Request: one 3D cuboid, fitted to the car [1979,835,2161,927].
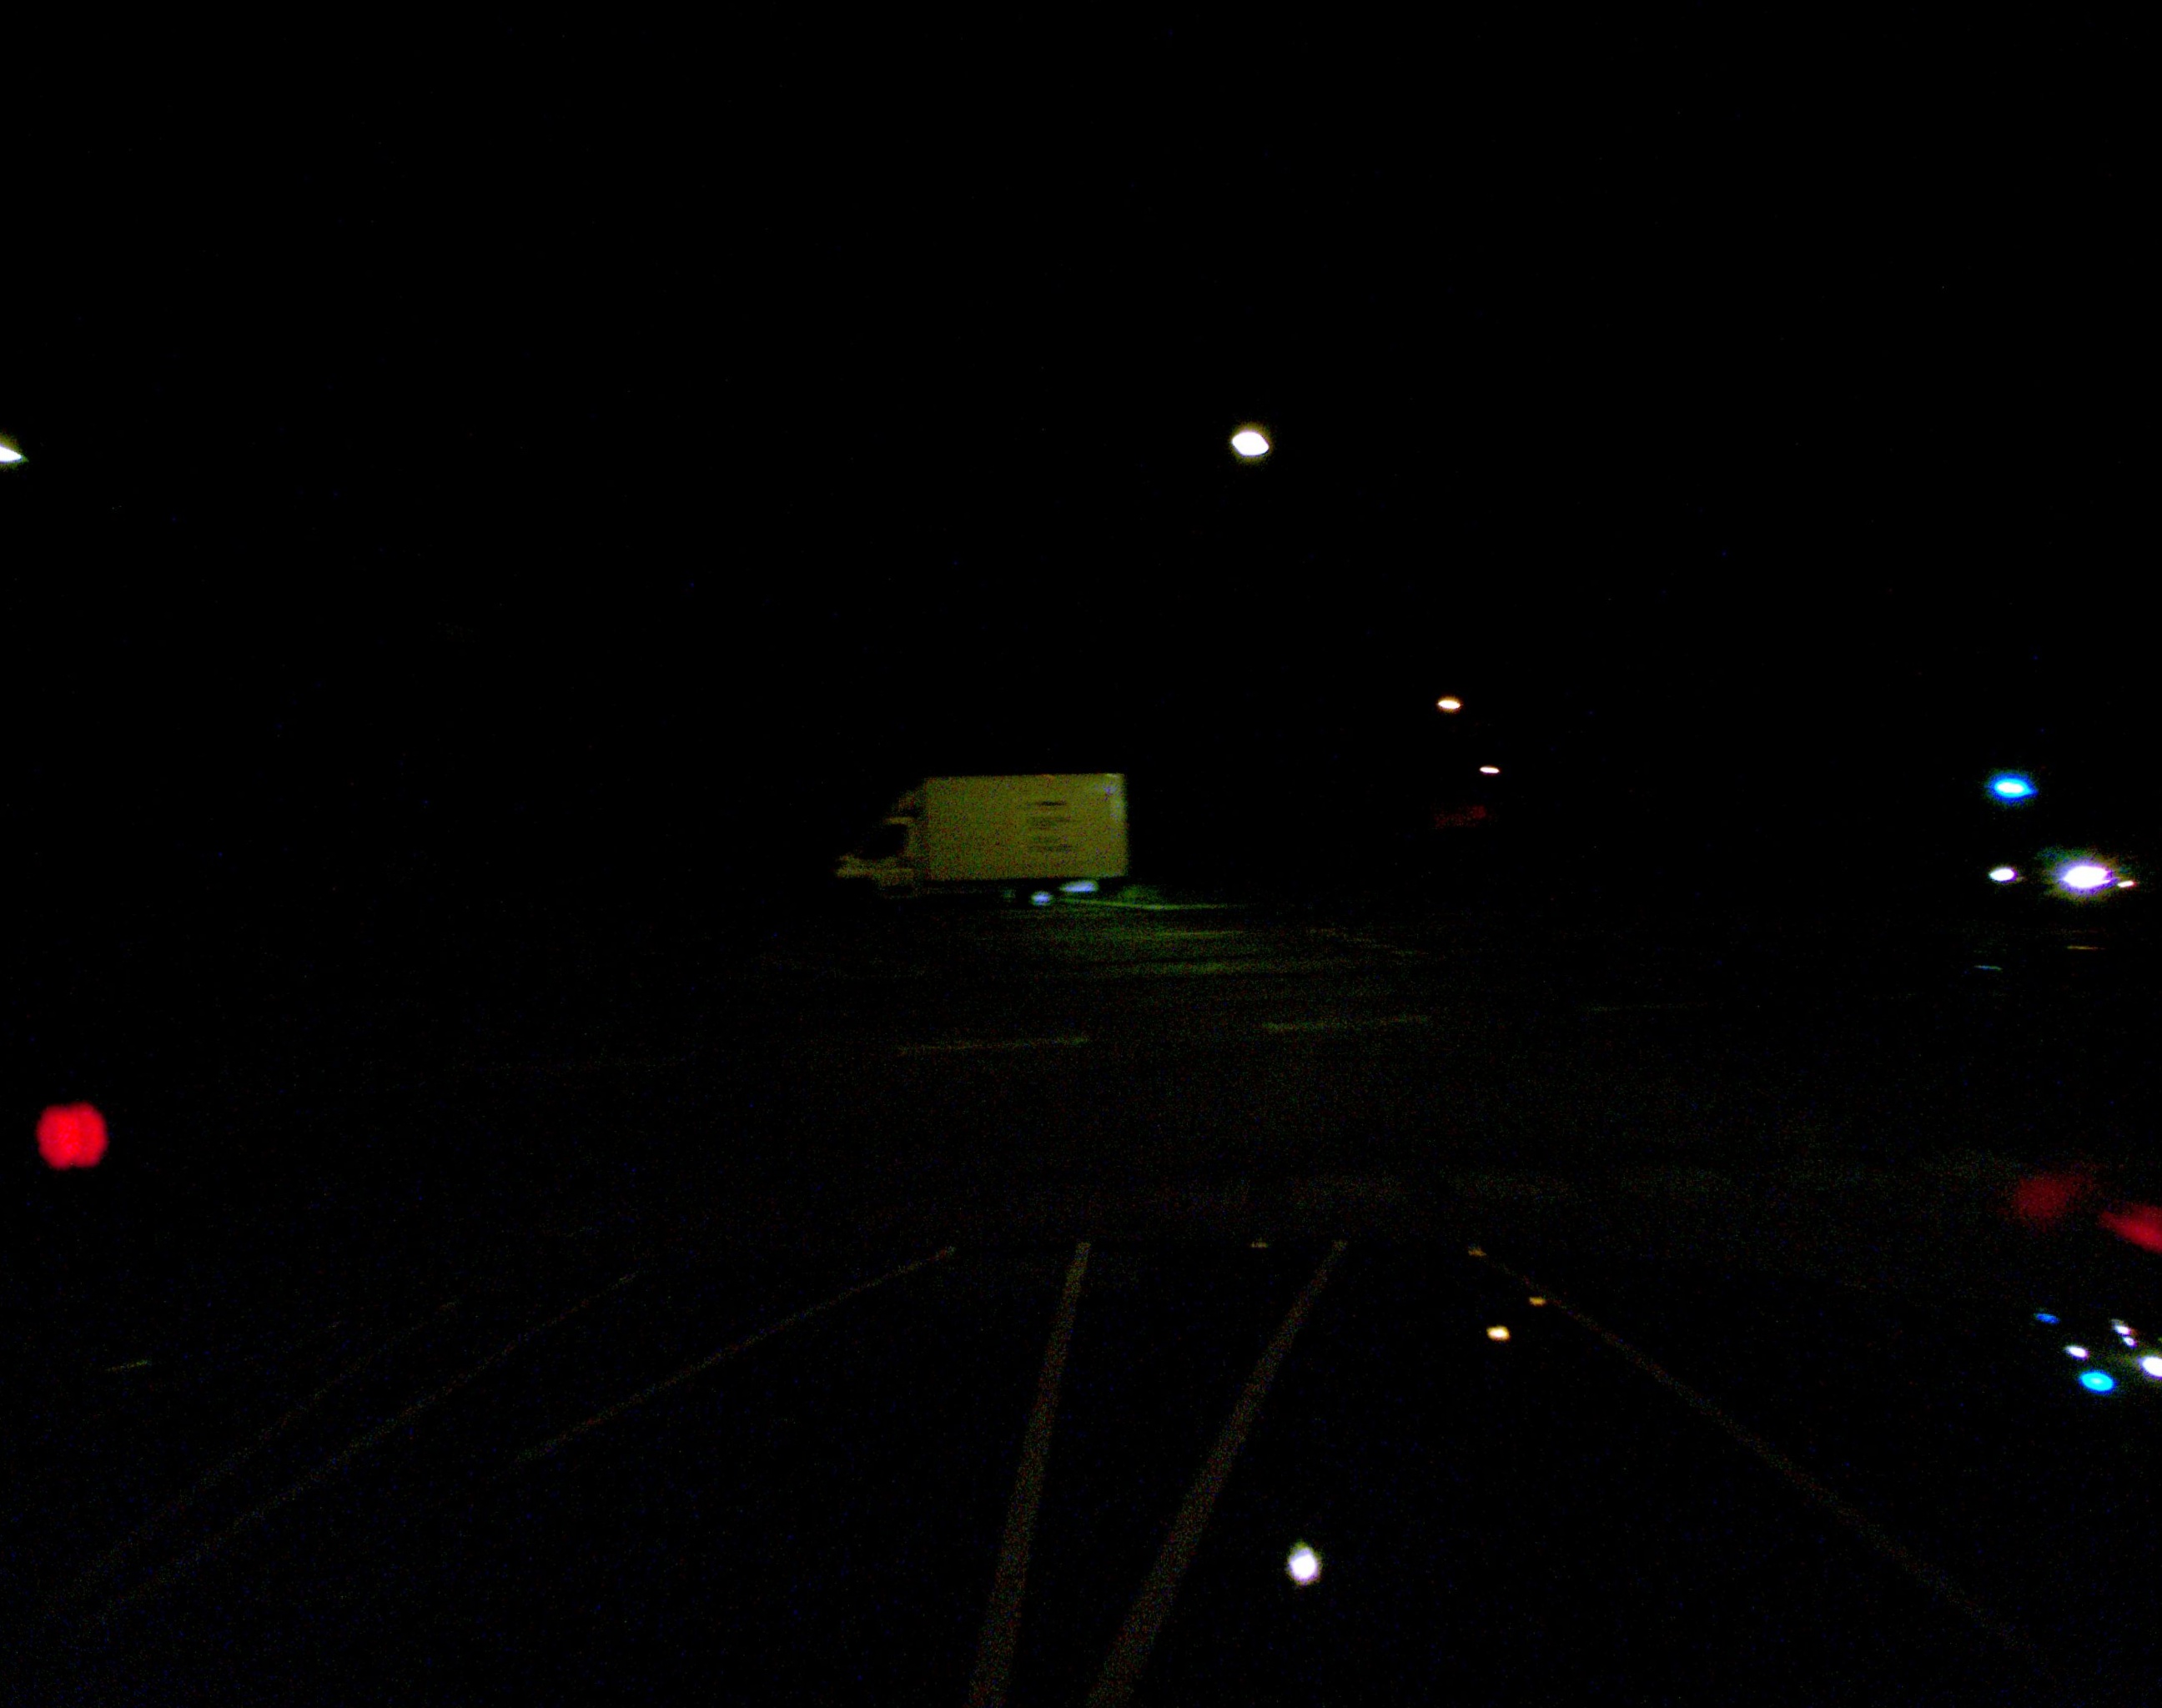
[{"bbox_3d":[18.516,0.444,13.715,3.049,1.493,1.513,-2,1,-6],"label":"car"}]

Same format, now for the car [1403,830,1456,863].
[{"bbox_3d":[16.491,-0.398,36.124,1.876,1.379,4.081,-2,1,19],"label":"car"}]

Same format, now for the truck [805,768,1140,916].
[{"bbox_3d":[-2.341,-0.370,17.651,7.033,3.029,2.769,-1,5,-5],"label":"truck"}]

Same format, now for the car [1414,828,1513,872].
[{"bbox_3d":[15.137,-0.193,30.324,2.051,1.547,4.255,-2,1,5],"label":"car"}]
